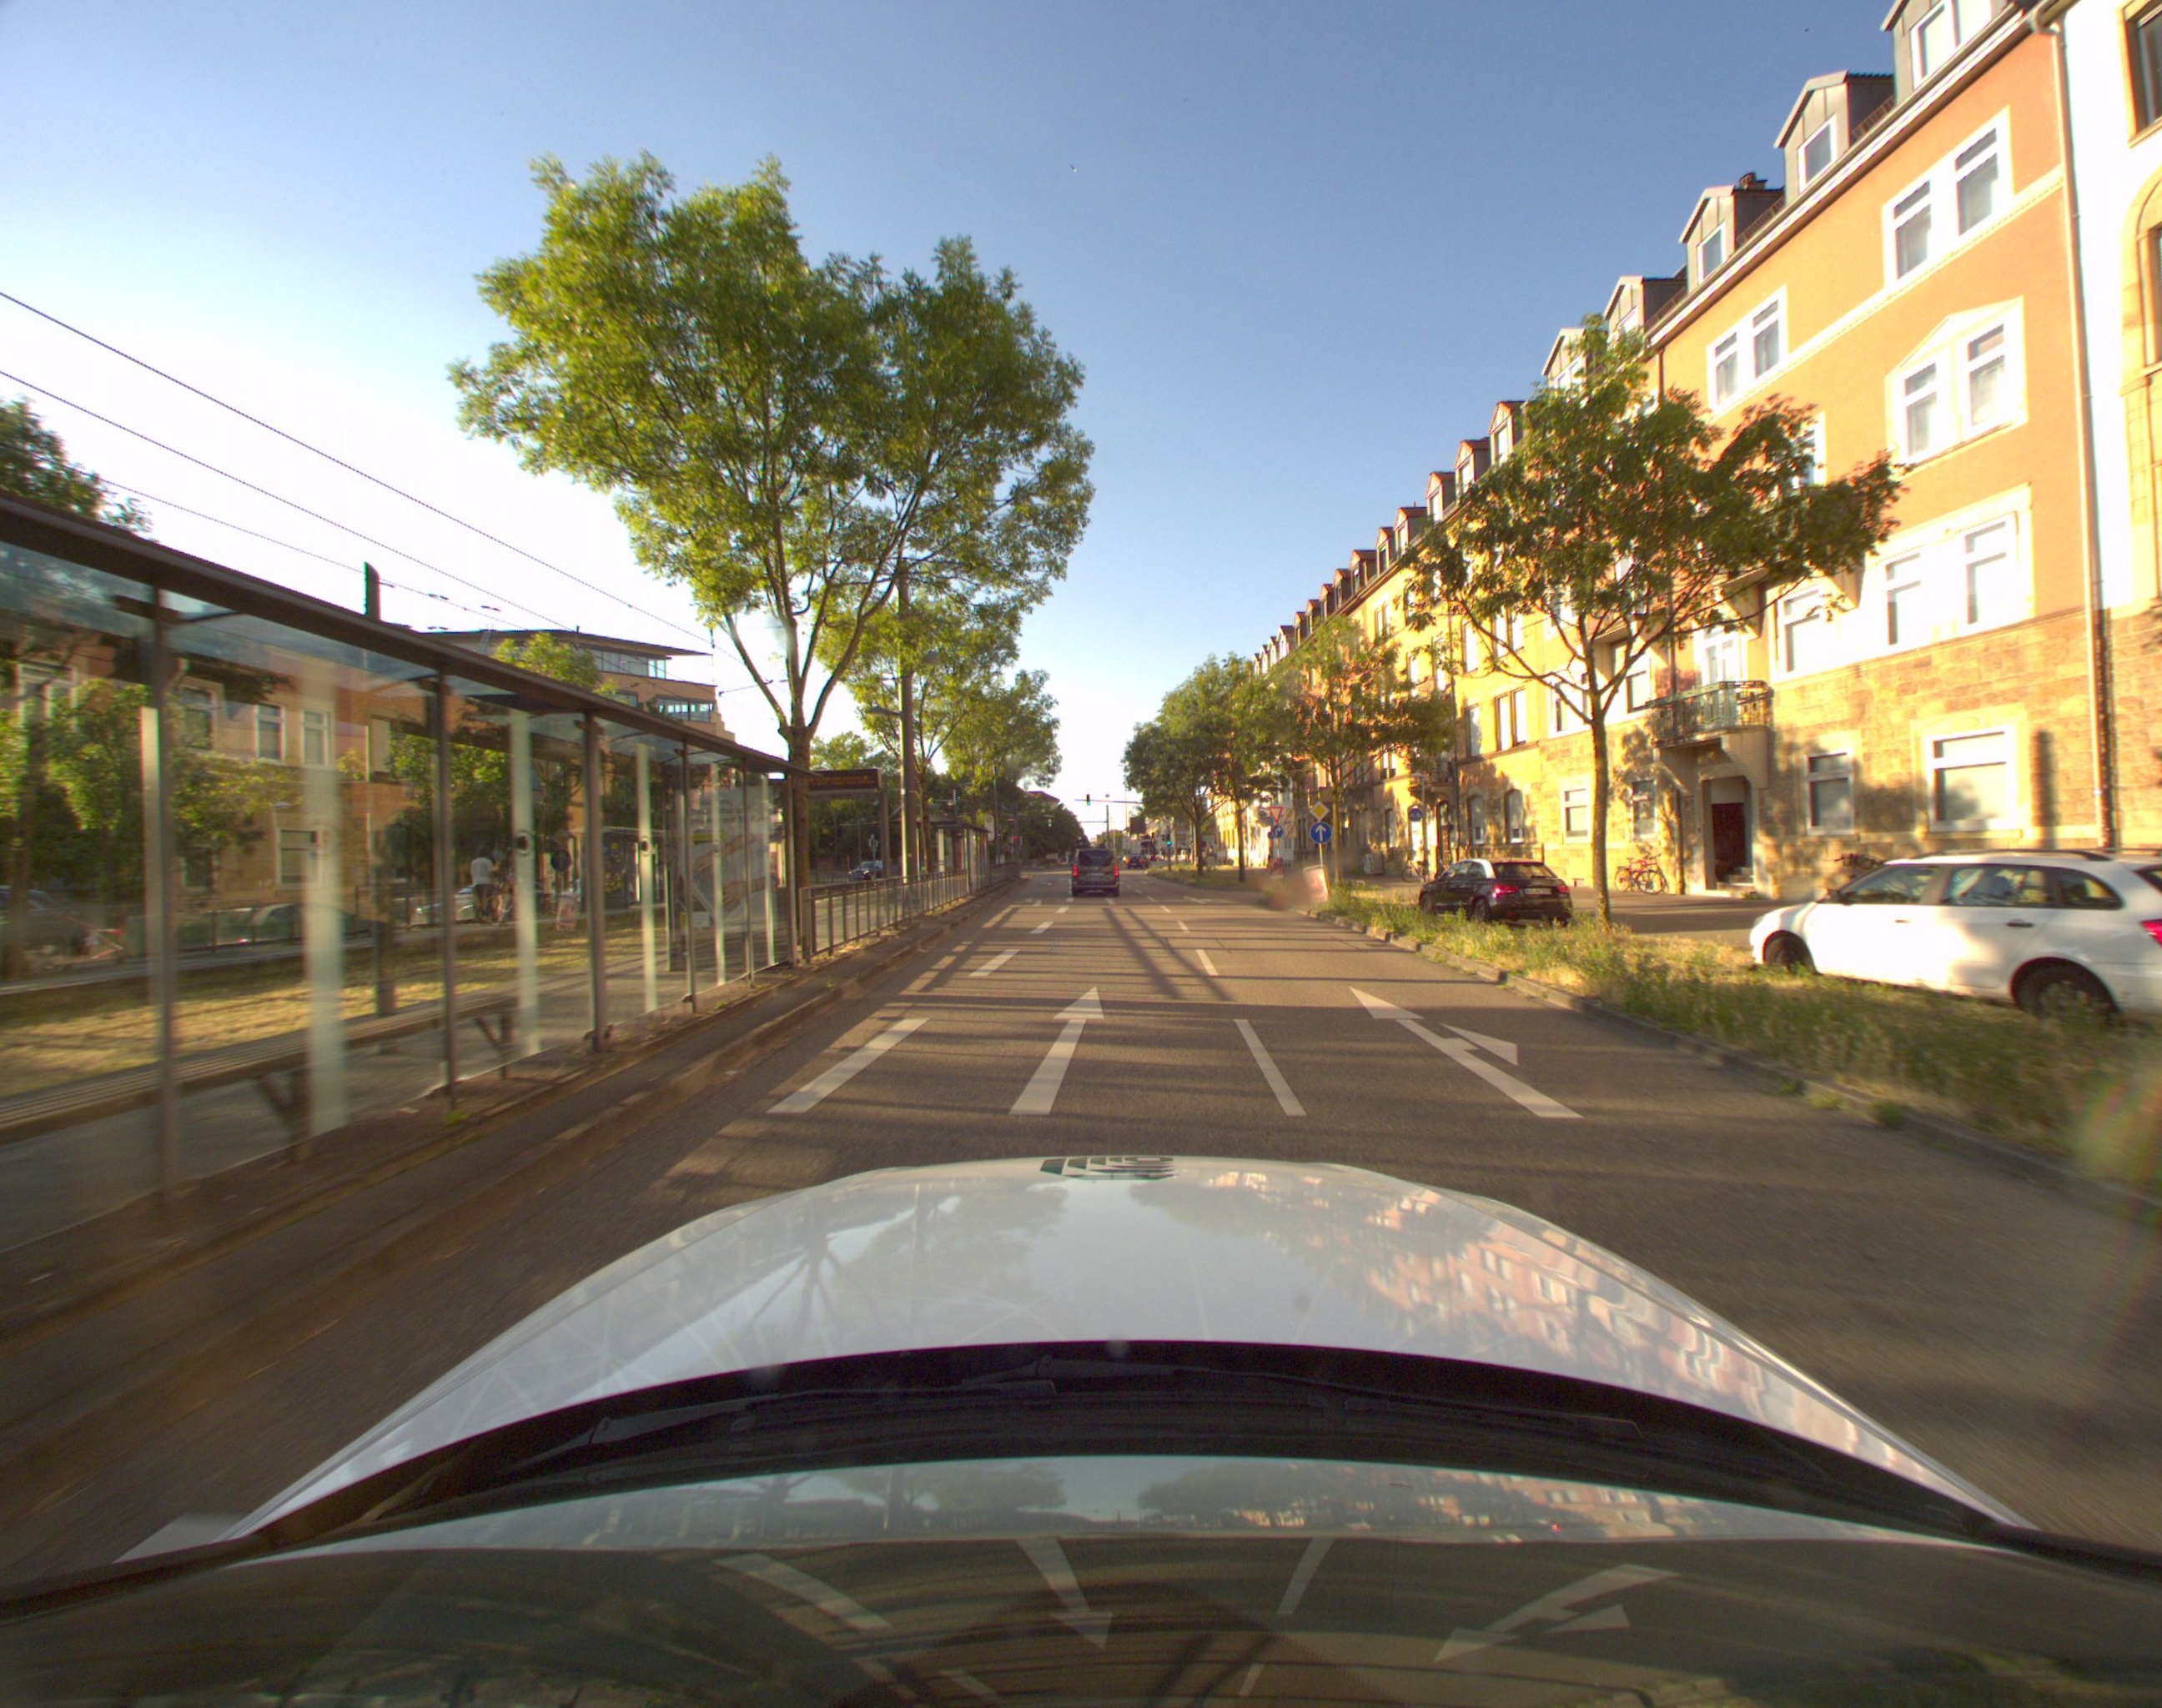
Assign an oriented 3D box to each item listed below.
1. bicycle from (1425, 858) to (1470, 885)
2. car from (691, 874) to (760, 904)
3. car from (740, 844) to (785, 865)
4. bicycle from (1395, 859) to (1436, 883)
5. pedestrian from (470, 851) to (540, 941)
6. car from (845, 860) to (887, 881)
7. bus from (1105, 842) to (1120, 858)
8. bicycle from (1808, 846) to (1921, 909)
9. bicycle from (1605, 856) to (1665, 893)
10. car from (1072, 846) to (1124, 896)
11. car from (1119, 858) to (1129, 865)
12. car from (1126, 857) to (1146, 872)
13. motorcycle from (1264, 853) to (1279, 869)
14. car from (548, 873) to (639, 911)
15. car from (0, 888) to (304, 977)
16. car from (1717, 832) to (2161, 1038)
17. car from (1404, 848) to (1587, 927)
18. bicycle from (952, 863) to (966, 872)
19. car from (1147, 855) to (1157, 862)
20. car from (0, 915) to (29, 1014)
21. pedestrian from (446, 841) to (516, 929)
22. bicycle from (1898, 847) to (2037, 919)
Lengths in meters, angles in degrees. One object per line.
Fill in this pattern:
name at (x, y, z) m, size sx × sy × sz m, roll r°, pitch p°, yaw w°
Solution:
bicycle at (14.168, 0.661, 31.583) m, size 0.731 × 0.948 × 2.341 m, roll -3°, pitch 0°, yaw 3°
car at (-18.450, 1.805, 42.472) m, size 1.789 × 1.415 × 4.338 m, roll 0°, pitch -1°, yaw -1°
car at (-22.737, 0.025, 58.247) m, size 1.605 × 1.413 × 4.431 m, roll -2°, pitch 0°, yaw -2°
bicycle at (14.002, 0.696, 34.134) m, size 0.869 × 0.916 × 2.085 m, roll -3°, pitch 0°, yaw 1°
pedestrian at (-13.406, 0.944, 18.984) m, size 0.767 × 2.013 × 1.127 m, roll -2°, pitch 0°, yaw 1°
car at (-17.196, 1.276, 65.311) m, size 1.987 × 1.552 × 4.894 m, roll -2°, pitch 0°, yaw 0°
bus at (9.114, -1.145, 238.395) m, size 3.283 × 4.617 × 9.985 m, roll 0°, pitch -1°, yaw -4°
bicycle at (15.907, 0.458, 16.601) m, size 0.482 × 1.165 × 1.746 m, roll -7°, pitch 0°, yaw -1°
bicycle at (15.764, 0.561, 23.215) m, size 0.482 × 1.005 × 1.746 m, roll -1°, pitch 0°, yaw 0°
car at (0.630, 0.661, 33.305) m, size 1.987 × 1.901 × 4.298 m, roll 0°, pitch 0°, yaw 0°
car at (10.541, 1.816, 200.877) m, size 1.989 × 1.656 × 4.294 m, roll -2°, pitch 0°, yaw -3°
car at (5.888, 1.087, 86.833) m, size 1.983 × 1.510 × 4.008 m, roll -1°, pitch 0°, yaw 7°
motorcycle at (14.815, 0.513, 63.366) m, size 0.552 × 1.214 × 2.071 m, roll 0°, pitch -1°, yaw -2°
car at (-21.101, 1.607, 35.432) m, size 1.607 × 1.376 × 3.748 m, roll -5°, pitch 0°, yaw 0°
car at (-17.691, 1.400, 15.645) m, size 1.688 × 1.298 × 3.999 m, roll -1°, pitch 0°, yaw -1°
car at (8.745, 0.616, 7.934) m, size 1.721 × 1.512 × 4.270 m, roll 1°, pitch 0°, yaw -1°
car at (8.618, 0.639, 17.394) m, size 1.698 × 1.448 × 4.287 m, roll 1°, pitch 0°, yaw 0°
bicycle at (-15.522, 1.735, 103.553) m, size 1.732 × 1.142 × 0.552 m, roll -2°, pitch 0°, yaw -43°
car at (17.108, 1.002, 196.472) m, size 1.987 × 1.656 × 4.299 m, roll -2°, pitch 0°, yaw 1°
car at (-17.672, 1.740, 10.763) m, size 1.856 × 1.508 × 4.359 m, roll -1°, pitch 0°, yaw -1°
pedestrian at (-14.345, 0.723, 19.500) m, size 0.767 × 2.013 × 1.127 m, roll -2°, pitch 0°, yaw 1°
bicycle at (15.927, 0.497, 14.698) m, size 0.482 × 1.165 × 1.746 m, roll -7°, pitch 0°, yaw -1°
